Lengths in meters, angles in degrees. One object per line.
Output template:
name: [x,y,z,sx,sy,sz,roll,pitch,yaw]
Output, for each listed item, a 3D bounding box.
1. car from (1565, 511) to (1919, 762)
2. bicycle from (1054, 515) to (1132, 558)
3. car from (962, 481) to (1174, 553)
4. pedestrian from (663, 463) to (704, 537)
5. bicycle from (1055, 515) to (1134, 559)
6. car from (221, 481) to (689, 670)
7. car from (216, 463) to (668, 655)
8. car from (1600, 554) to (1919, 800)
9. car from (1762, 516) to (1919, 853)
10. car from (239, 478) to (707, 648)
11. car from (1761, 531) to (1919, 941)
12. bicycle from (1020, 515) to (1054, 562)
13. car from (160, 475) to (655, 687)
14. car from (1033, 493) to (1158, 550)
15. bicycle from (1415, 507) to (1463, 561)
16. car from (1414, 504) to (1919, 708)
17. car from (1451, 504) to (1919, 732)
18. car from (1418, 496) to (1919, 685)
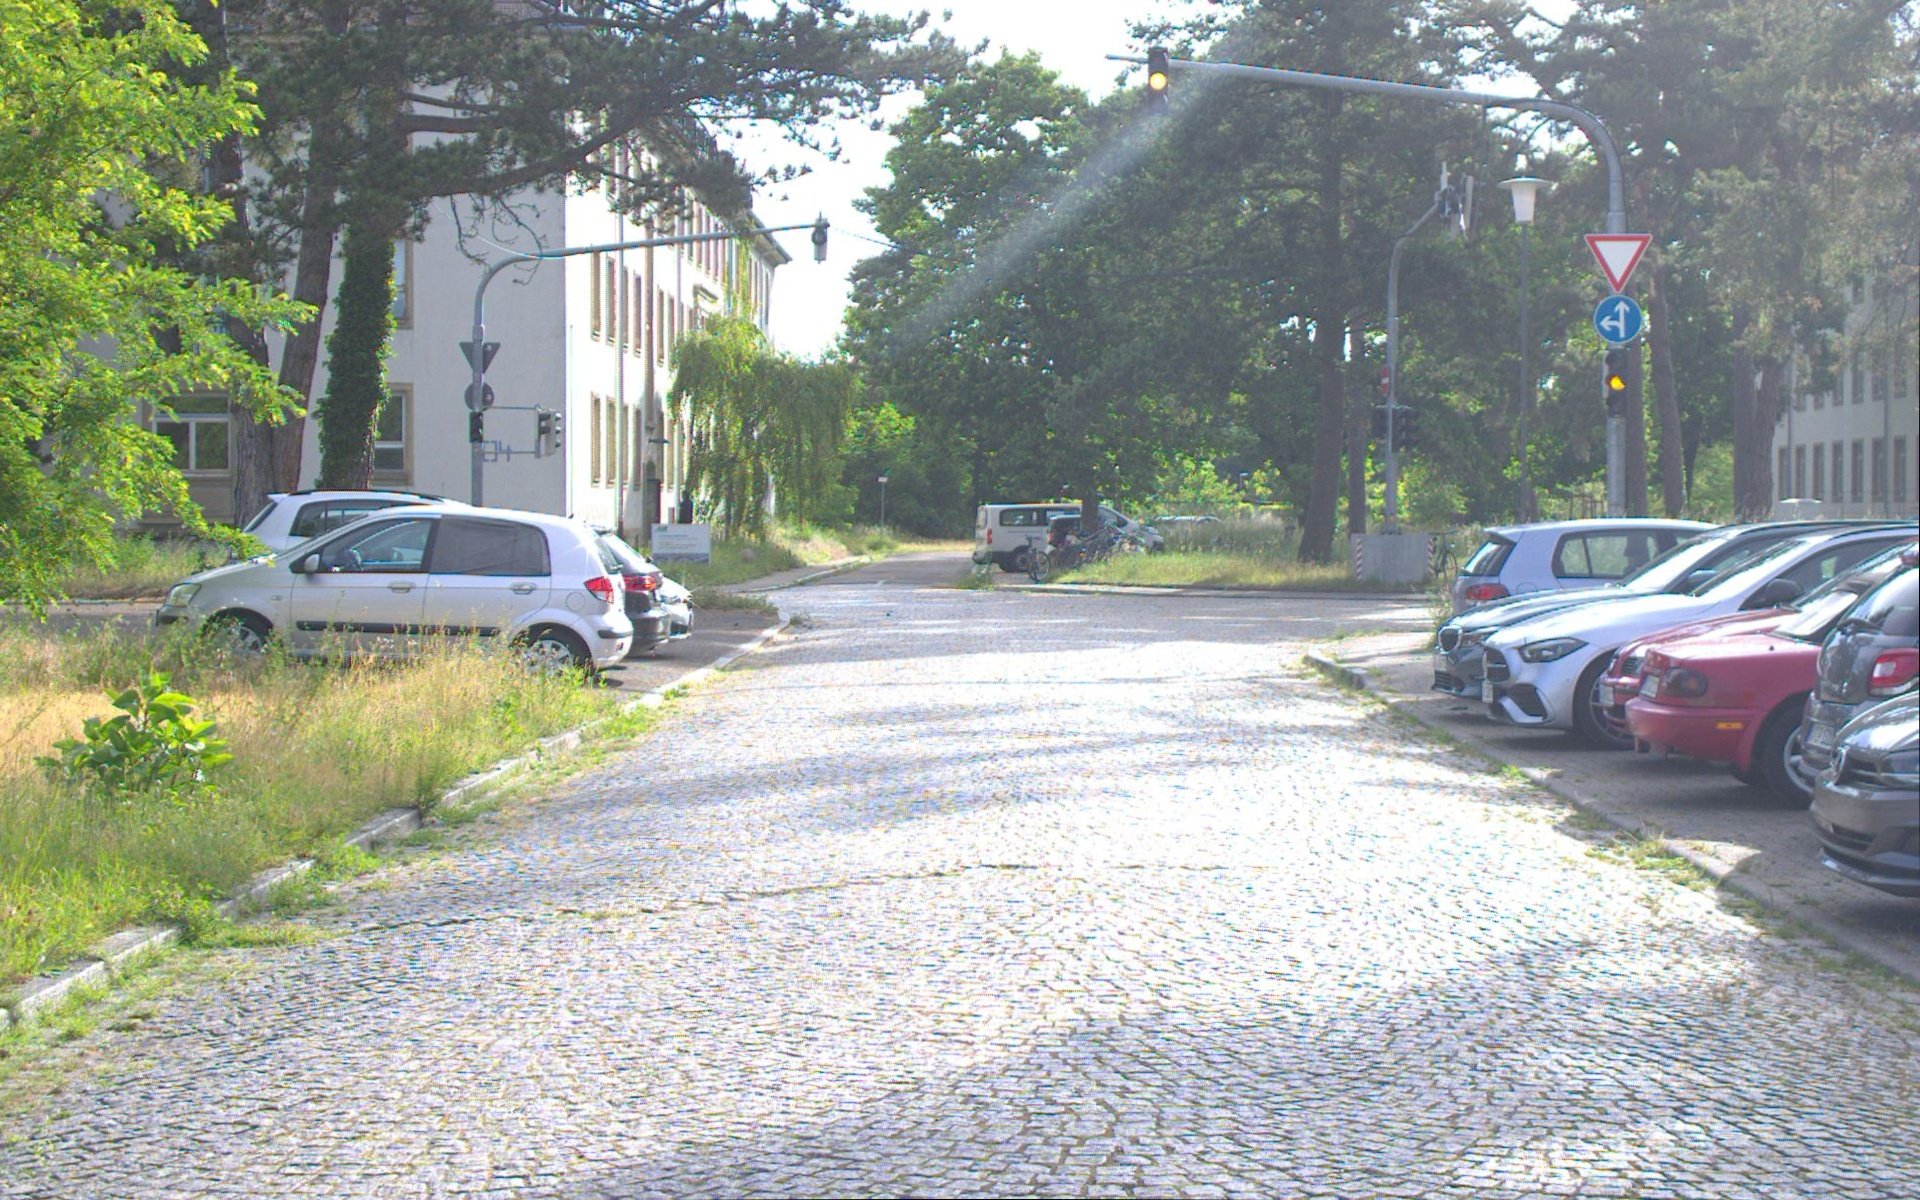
car: [6.026,0.191,21.045,4.341,1.468,1.740,0,1,1]
bicycle: [3.129,-1.492,80.874,1.793,0.995,0.644,0,2,0]
car: [2.991,-2.301,95.781,5.499,1.909,2.255,0,1,-13]
pedestrian: [-7.428,-2.686,92.389,0.985,1.956,0.933,0,1,0]
bicycle: [3.119,-1.473,79.854,1.793,0.995,0.644,0,2,0]
car: [-4.445,-0.229,30.688,3.828,1.424,1.859,3,1,0]
car: [-4.963,-0.404,33.389,4.121,1.594,1.859,3,1,-4]
car: [5.605,0.383,18.679,3.951,1.256,1.726,0,1,1]
car: [5.914,0.346,16.032,3.951,1.490,1.772,0,1,1]
car: [-5.024,-0.413,35.934,4.587,1.450,1.904,3,3,-1]
car: [5.239,0.458,13.123,3.951,1.462,1.831,0,1,1]
bicycle: [1.707,-1.378,76.291,0.728,0.995,1.799,0,3,1]
car: [-4.438,-0.167,28.032,3.683,1.468,1.850,3,1,-1]
car: [3.620,-2.097,92.205,3.031,1.460,1.720,0,0,-12]
bicycle: [9.131,-1.266,65.559,0.562,0.995,1.752,0,3,-3]
car: [5.856,0.017,26.096,4.506,1.468,1.895,0,1,-3]
car: [5.714,0.095,23.321,4.506,1.468,1.850,0,1,1]
car: [6.238,-0.098,28.713,4.543,1.500,1.933,0,1,-1]
